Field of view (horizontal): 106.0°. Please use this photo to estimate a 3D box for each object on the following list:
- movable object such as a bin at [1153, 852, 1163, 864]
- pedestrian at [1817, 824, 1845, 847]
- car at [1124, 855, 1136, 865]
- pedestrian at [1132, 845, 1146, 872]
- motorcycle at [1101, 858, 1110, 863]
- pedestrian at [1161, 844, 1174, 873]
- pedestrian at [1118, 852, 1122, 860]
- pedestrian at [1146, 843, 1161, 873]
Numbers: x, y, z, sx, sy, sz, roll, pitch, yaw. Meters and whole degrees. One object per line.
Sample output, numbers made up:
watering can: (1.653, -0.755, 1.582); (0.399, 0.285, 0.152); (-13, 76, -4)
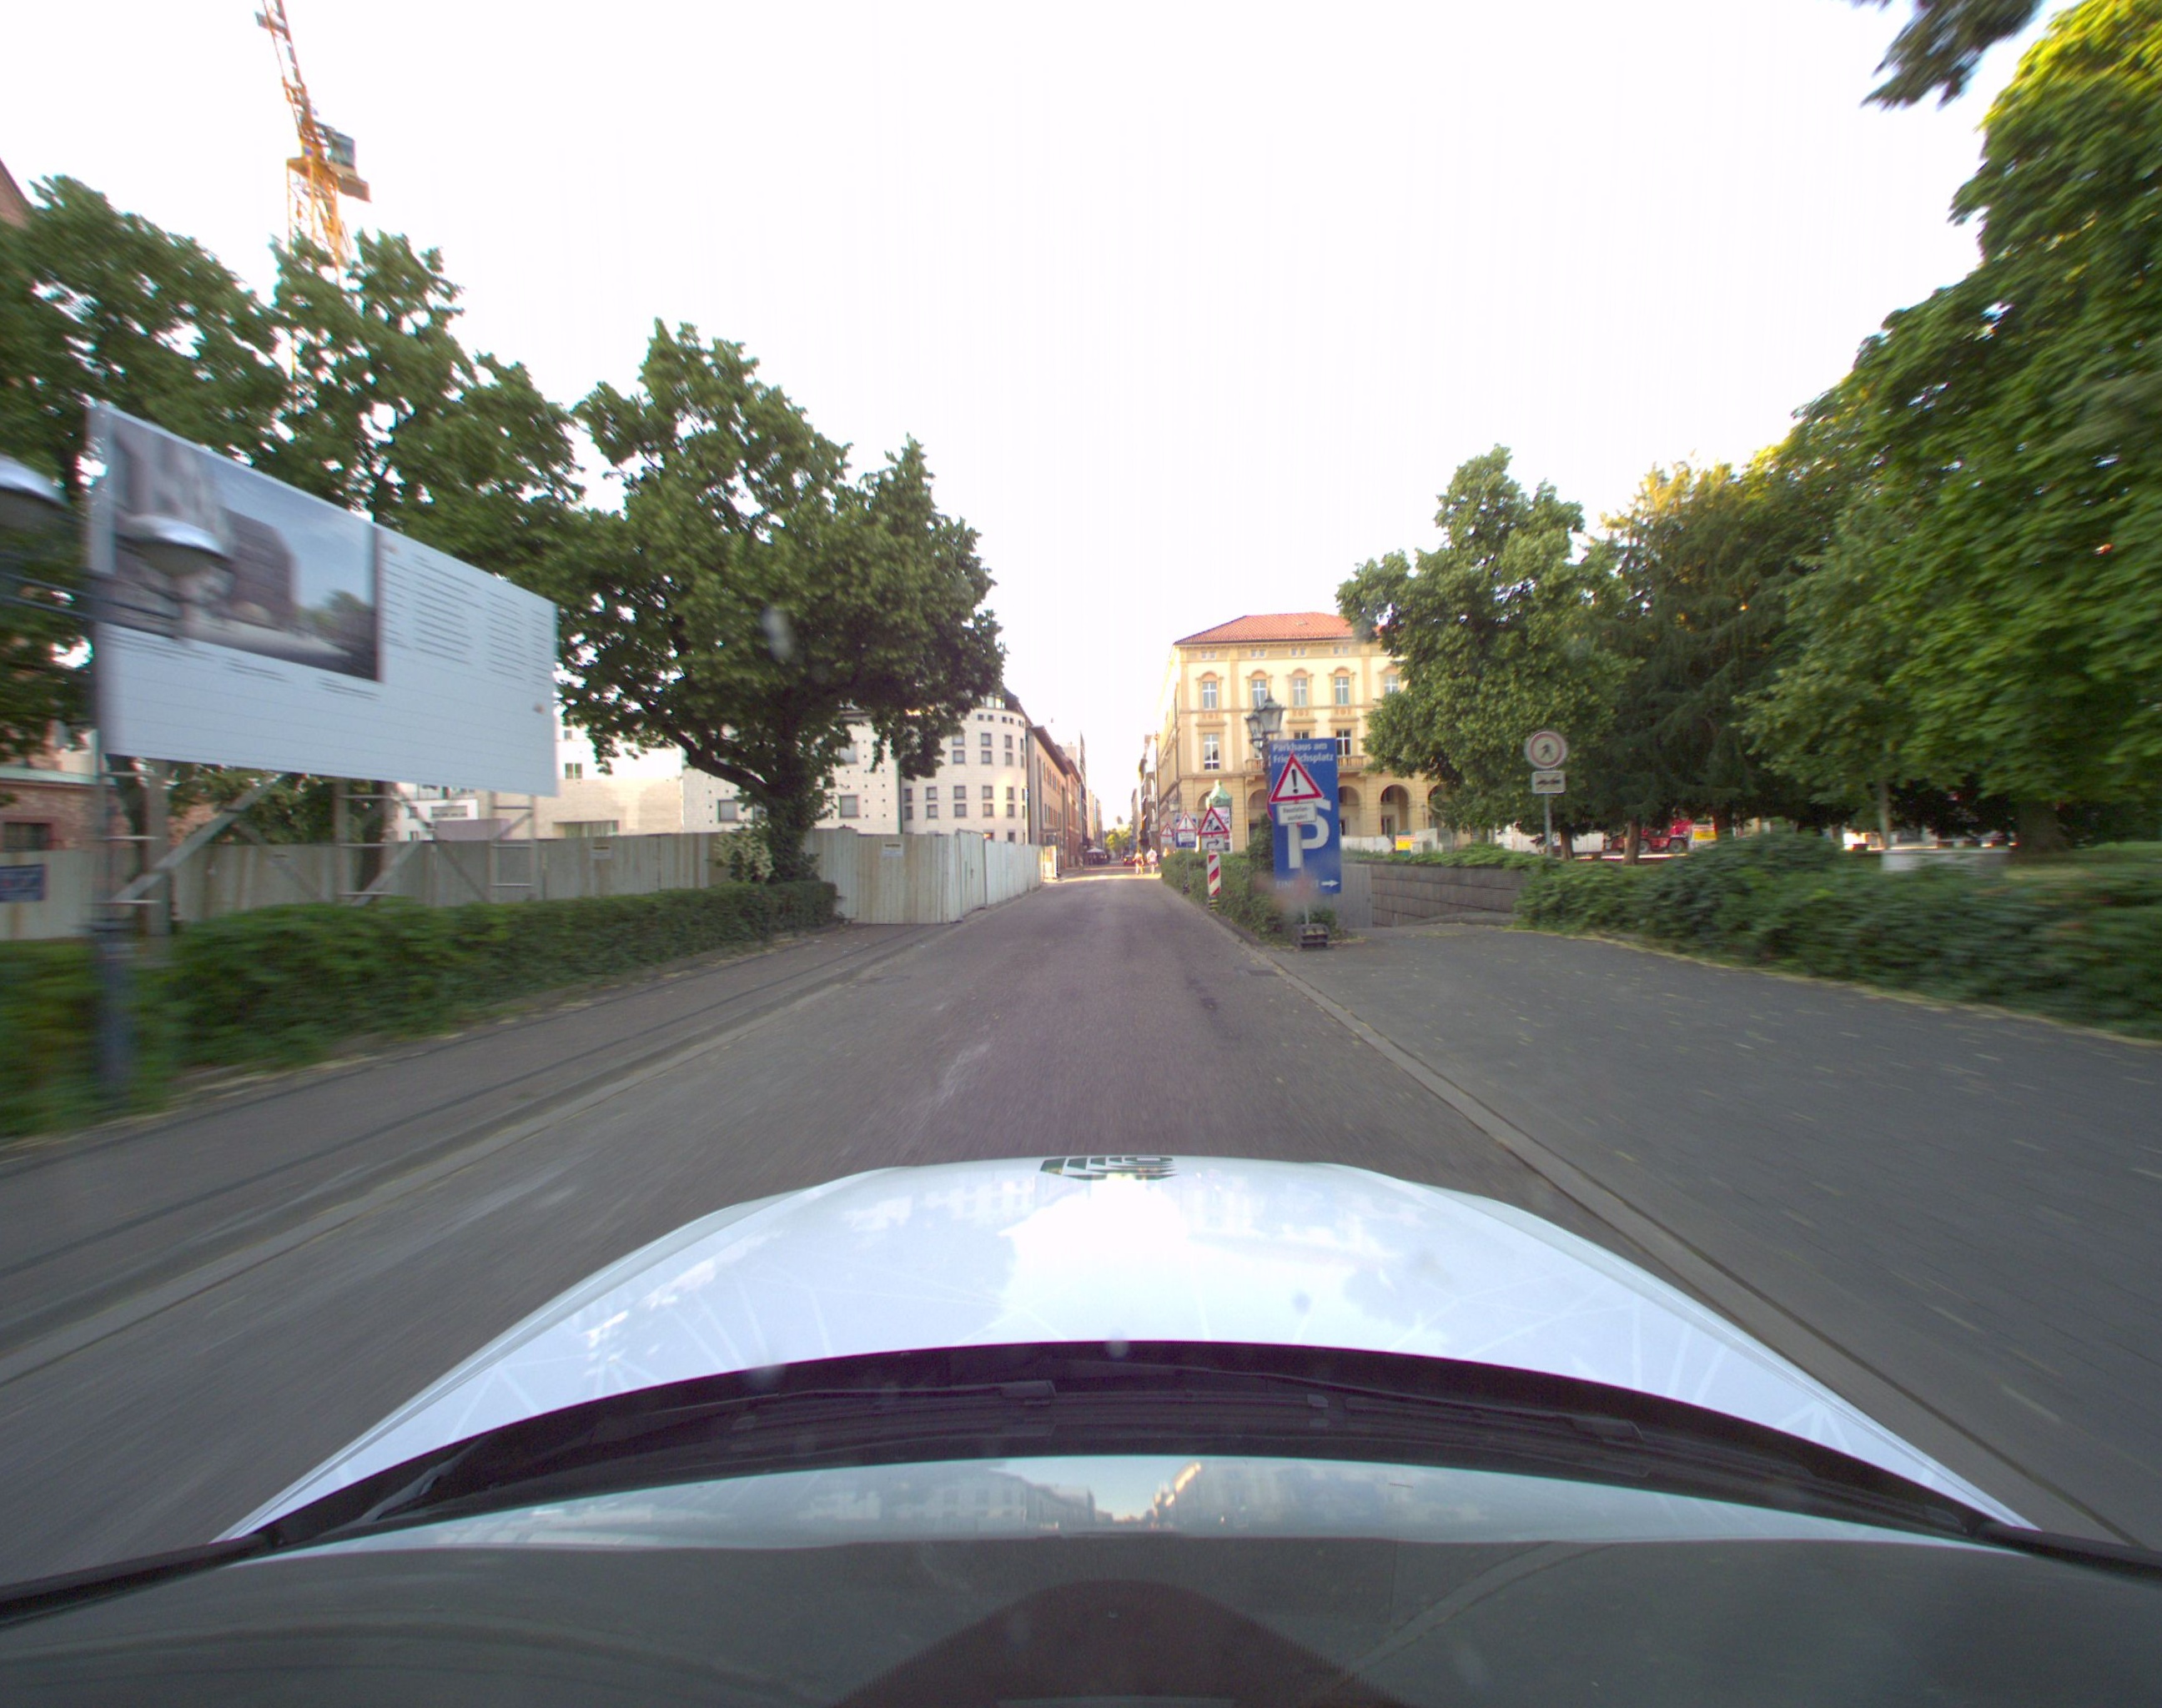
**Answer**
movable object such as a bin: (8.776, 0.452, 93.237); (0.987, 1.392, 1.241); (-3, -1, 2)
pedestrian: (42.014, -1.041, 45.624); (0.705, 1.252, 0.926); (-2, -1, -2)
car: (6.843, 0.816, 114.083); (1.642, 1.427, 3.538); (1, -1, 3)
pedestrian: (3.809, 0.311, 53.280); (0.773, 1.746, 0.875); (-3, -1, 1)
motorcycle: (4.635, 1.315, 154.290); (1.796, 0.875, 0.560); (-2, -1, -2)
pedestrian: (5.539, 0.272, 52.160); (0.634, 1.803, 0.772); (-3, -1, 1)
pedestrian: (8.696, 0.468, 180.254); (0.801, 1.672, 0.889); (-2, -1, 4)
pedestrian: (4.757, 0.274, 53.452); (0.809, 1.875, 0.875); (-3, -1, 1)
